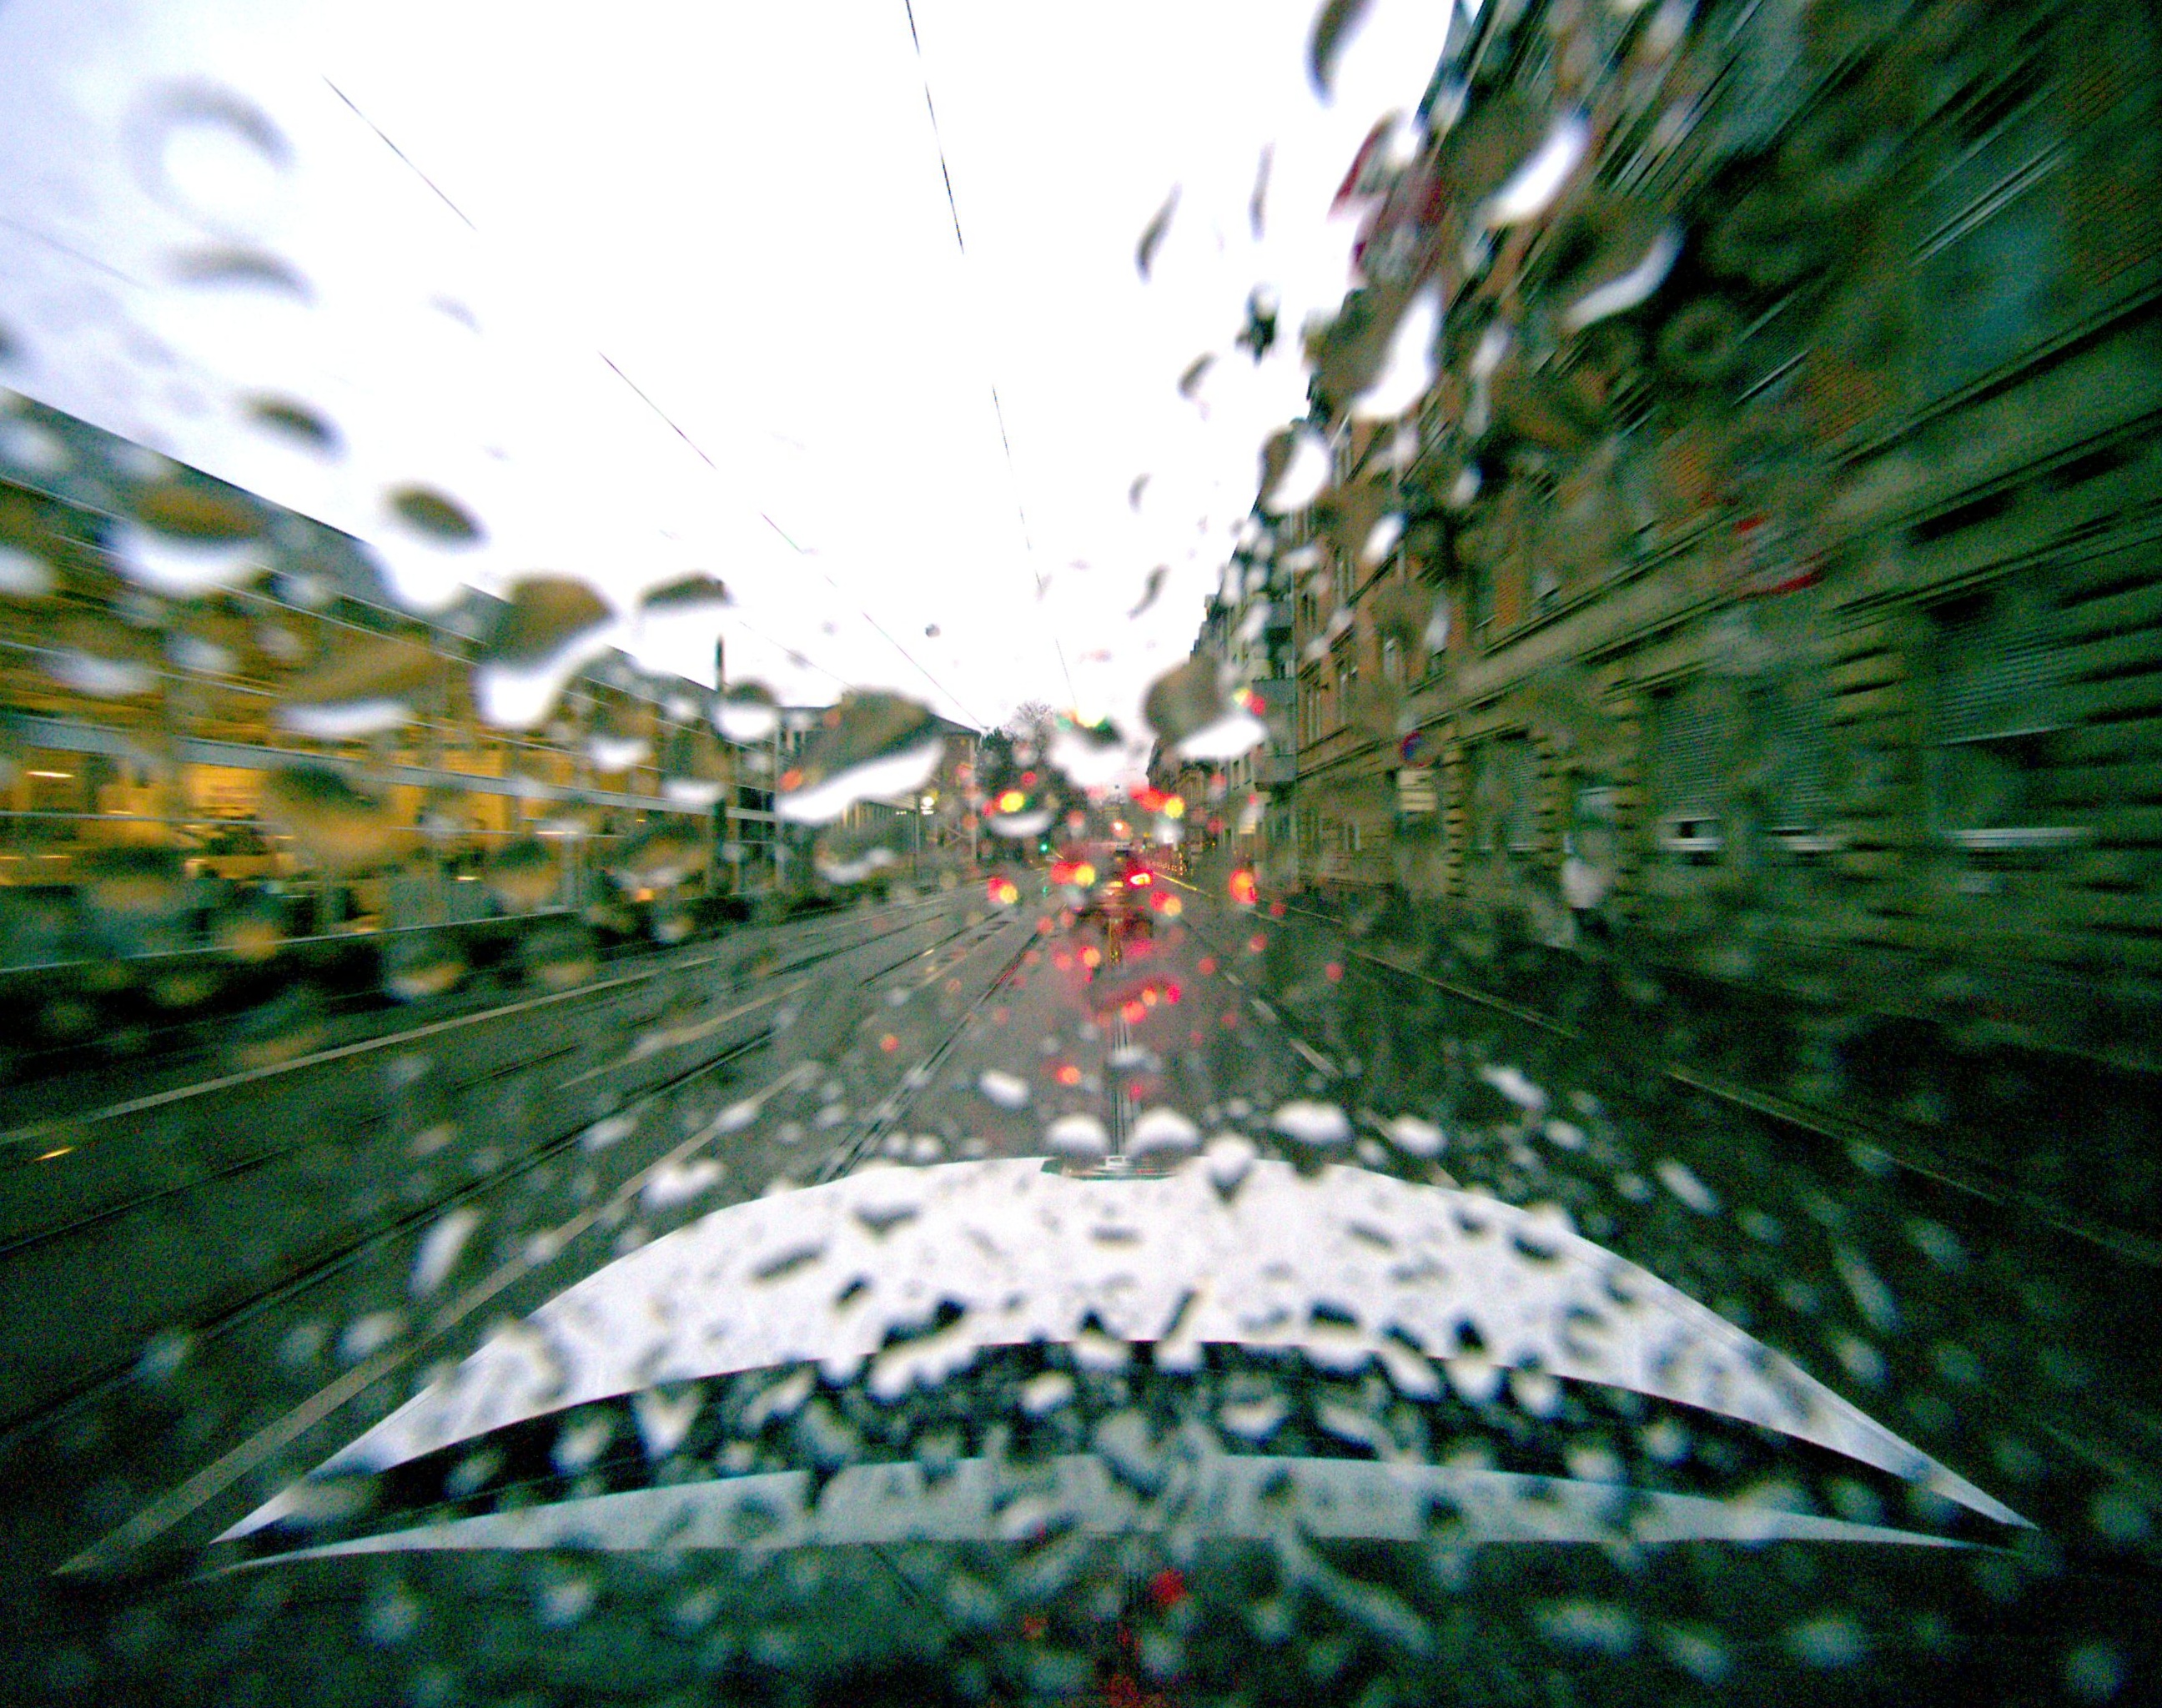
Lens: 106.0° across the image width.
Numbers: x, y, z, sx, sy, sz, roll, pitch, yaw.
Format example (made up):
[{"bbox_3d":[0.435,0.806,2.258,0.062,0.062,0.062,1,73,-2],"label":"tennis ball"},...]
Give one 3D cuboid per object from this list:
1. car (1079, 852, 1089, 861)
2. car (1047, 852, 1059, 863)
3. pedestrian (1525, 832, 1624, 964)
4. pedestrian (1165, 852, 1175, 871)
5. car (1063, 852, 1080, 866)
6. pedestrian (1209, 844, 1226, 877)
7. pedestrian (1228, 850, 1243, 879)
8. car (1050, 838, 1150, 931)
[{"bbox_3d":[0.520,0.430,136.293,1.524,1.481,3.563,-1,0,2],"label":"car"},{"bbox_3d":[-4.424,0.553,128.746,1.979,1.615,4.425,-1,-1,-2],"label":"car"},{"bbox_3d":[6.219,0.539,10.308,0.783,1.597,0.742,-1,0,3],"label":"pedestrian"},{"bbox_3d":[8.108,0.719,74.524,0.829,1.701,0.956,-1,-1,10],"label":"pedestrian"},{"bbox_3d":[-1.209,0.599,105.438,1.868,1.710,4.762,-2,0,1],"label":"car"},{"bbox_3d":[7.500,0.347,44.776,0.601,1.818,0.769,0,-1,-26],"label":"pedestrian"},{"bbox_3d":[7.417,0.508,39.164,0.597,1.376,0.728,-1,-1,1],"label":"pedestrian"},{"bbox_3d":[0.545,0.613,18.368,1.984,1.842,4.005,-1,0,5],"label":"car"}]
